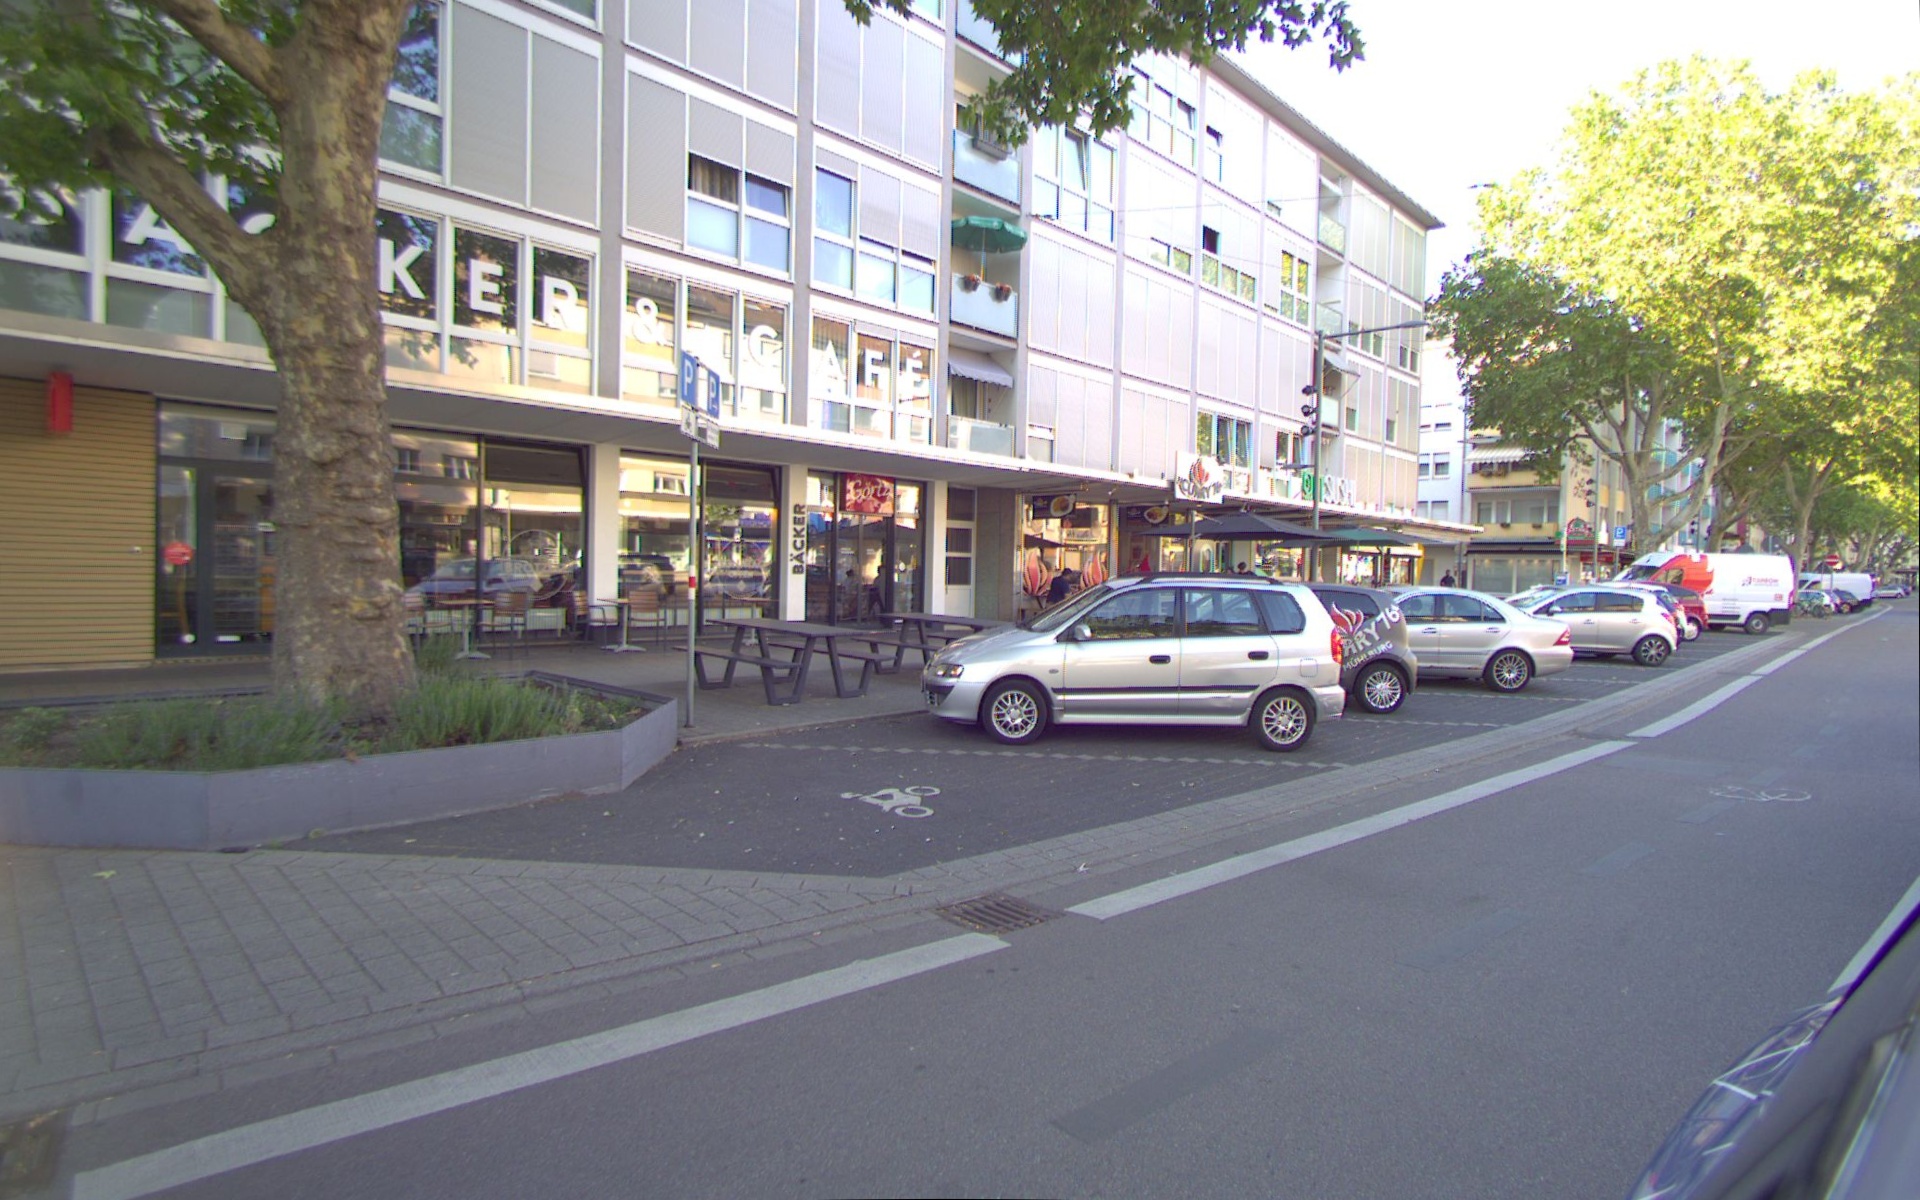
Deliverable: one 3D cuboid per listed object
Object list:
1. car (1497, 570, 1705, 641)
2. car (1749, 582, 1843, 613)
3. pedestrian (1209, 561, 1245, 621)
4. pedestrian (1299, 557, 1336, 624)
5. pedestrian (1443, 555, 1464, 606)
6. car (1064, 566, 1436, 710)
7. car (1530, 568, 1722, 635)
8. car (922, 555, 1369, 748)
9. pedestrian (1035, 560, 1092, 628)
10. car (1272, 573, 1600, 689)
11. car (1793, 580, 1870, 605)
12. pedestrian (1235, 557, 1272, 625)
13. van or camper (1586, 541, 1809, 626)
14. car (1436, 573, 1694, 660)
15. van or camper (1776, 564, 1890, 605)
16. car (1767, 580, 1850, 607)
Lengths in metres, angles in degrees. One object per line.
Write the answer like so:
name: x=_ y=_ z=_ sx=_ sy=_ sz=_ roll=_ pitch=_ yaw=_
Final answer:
car: x=15.741 y=0.108 z=25.016 sx=3.929 sy=1.541 sz=1.659 roll=2 pitch=3 yaw=5
car: x=41.868 y=-0.152 z=50.733 sx=3.271 sy=1.363 sz=1.530 roll=2 pitch=3 yaw=5
pedestrian: x=6.623 y=-0.229 z=25.080 sx=0.537 sy=1.417 sz=0.676 roll=5 pitch=4 yaw=44
pedestrian: x=8.819 y=-0.249 z=24.983 sx=0.537 sy=1.610 sz=0.676 roll=5 pitch=4 yaw=44
pedestrian: x=19.728 y=-0.785 z=40.469 sx=0.566 sy=2.039 sz=0.552 roll=0 pitch=0 yaw=-3
car: x=3.381 y=0.407 z=12.340 sx=3.921 sy=1.525 sz=1.811 roll=1 pitch=2 yaw=-3
car: x=17.886 y=0.013 z=27.339 sx=3.929 sy=1.582 sz=1.659 roll=2 pitch=3 yaw=5
car: x=1.626 y=0.430 z=9.883 sx=3.921 sy=1.626 sz=1.811 roll=1 pitch=2 yaw=-3
pedestrian: x=2.190 y=-0.136 z=21.425 sx=0.945 sy=1.379 sz=0.750 roll=0 pitch=2 yaw=-41
car: x=6.814 y=0.402 z=14.809 sx=3.926 sy=1.453 sz=1.660 roll=2 pitch=3 yaw=2
car: x=53.819 y=-0.477 z=62.530 sx=3.271 sy=1.363 sz=1.530 roll=2 pitch=3 yaw=5
pedestrian: x=7.176 y=-0.238 z=24.774 sx=0.537 sy=1.610 sz=0.676 roll=5 pitch=4 yaw=44
van or camper: x=23.317 y=-0.547 z=32.190 sx=5.366 sy=2.499 sz=1.998 roll=1 pitch=2 yaw=5
car: x=11.735 y=0.284 z=19.858 sx=3.929 sy=1.453 sz=1.659 roll=2 pitch=3 yaw=5
van or camper: x=56.112 y=-1.039 z=65.142 sx=5.363 sy=2.499 sz=1.999 roll=1 pitch=2 yaw=3
car: x=48.445 y=-0.404 z=57.847 sx=3.271 sy=1.363 sz=1.530 roll=2 pitch=3 yaw=5
